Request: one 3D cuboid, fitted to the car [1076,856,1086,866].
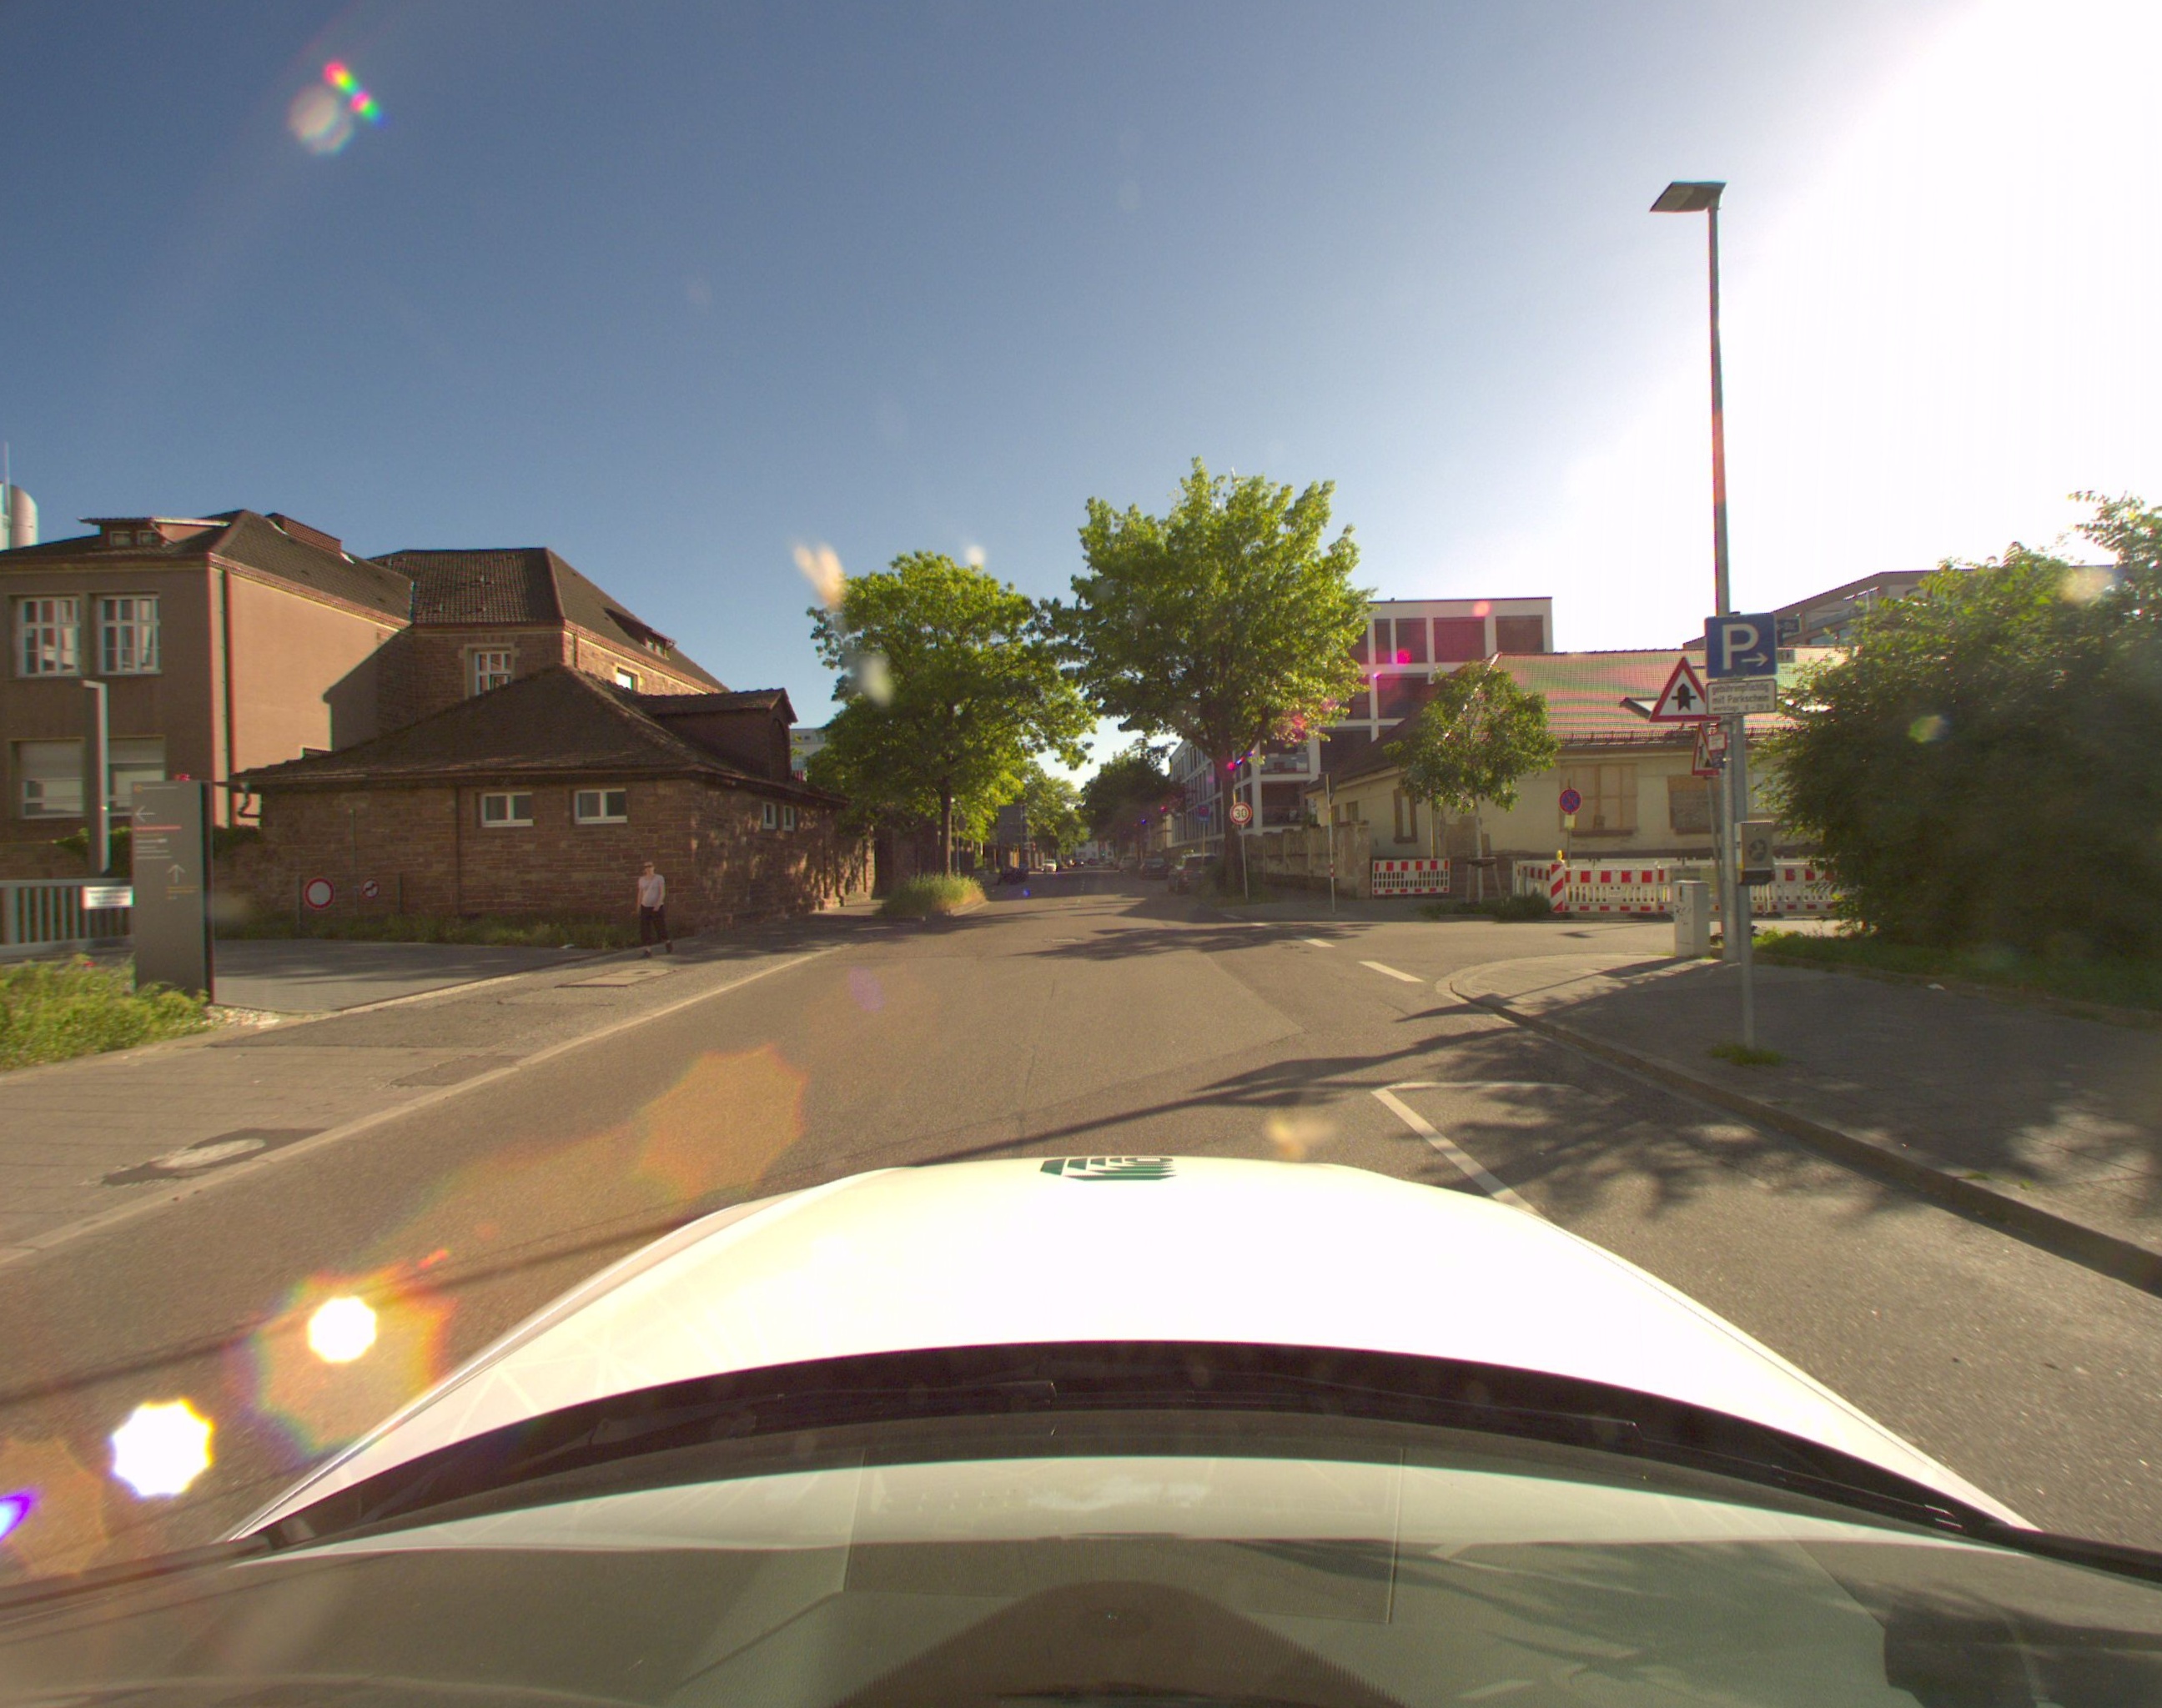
[{"bbox_3d":[-0.001,1.172,133.022,1.648,1.530,4.000,-2,0,0],"label":"car"}]

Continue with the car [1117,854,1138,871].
[{"bbox_3d":[4.637,0.838,81.234,1.943,1.578,3.837,-2,0,1],"label":"car"}]

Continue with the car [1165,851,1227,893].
[{"bbox_3d":[4.336,0.642,31.300,1.697,1.468,4.788,-1,0,0],"label":"car"}]

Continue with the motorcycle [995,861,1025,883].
[{"bbox_3d":[-4.263,1.079,49.050,0.570,1.276,2.135,-2,0,34],"label":"motorcycle"}]

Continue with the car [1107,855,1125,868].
[{"bbox_3d":[4.159,0.828,97.087,1.986,1.465,3.837,-2,0,1],"label":"car"}]

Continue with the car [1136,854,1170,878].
[{"bbox_3d":[4.630,0.740,52.542,1.762,1.440,3.998,-2,0,-1],"label":"car"}]

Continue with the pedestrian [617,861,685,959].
[{"bbox_3d":[-7.246,0.914,13.774,0.519,1.562,1.096,-2,0,0],"label":"pedestrian"}]

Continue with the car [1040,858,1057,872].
[{"bbox_3d":[-3.718,1.252,93.395,1.762,1.487,3.998,-2,0,-1],"label":"car"}]

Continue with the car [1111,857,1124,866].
[{"bbox_3d":[5.729,1.169,128.502,1.986,1.425,3.837,-2,0,1],"label":"car"}]

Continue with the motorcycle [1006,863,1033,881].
[{"bbox_3d":[-4.036,1.175,53.399,0.570,1.074,2.135,-2,0,34],"label":"motorcycle"}]

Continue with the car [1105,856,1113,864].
[{"bbox_3d":[5.600,1.163,162.427,1.580,1.400,3.837,-2,0,1],"label":"car"}]

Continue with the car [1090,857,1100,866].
[{"bbox_3d":[2.630,1.456,156.401,1.762,1.548,4.064,-2,0,-1],"label":"car"}]

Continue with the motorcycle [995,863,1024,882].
[{"bbox_3d":[-4.394,1.134,50.398,0.570,1.074,2.135,-2,0,34],"label":"motorcycle"}]

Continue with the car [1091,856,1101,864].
[{"bbox_3d":[2.907,1.218,156.599,1.882,1.400,3.837,-2,0,1],"label":"car"}]
